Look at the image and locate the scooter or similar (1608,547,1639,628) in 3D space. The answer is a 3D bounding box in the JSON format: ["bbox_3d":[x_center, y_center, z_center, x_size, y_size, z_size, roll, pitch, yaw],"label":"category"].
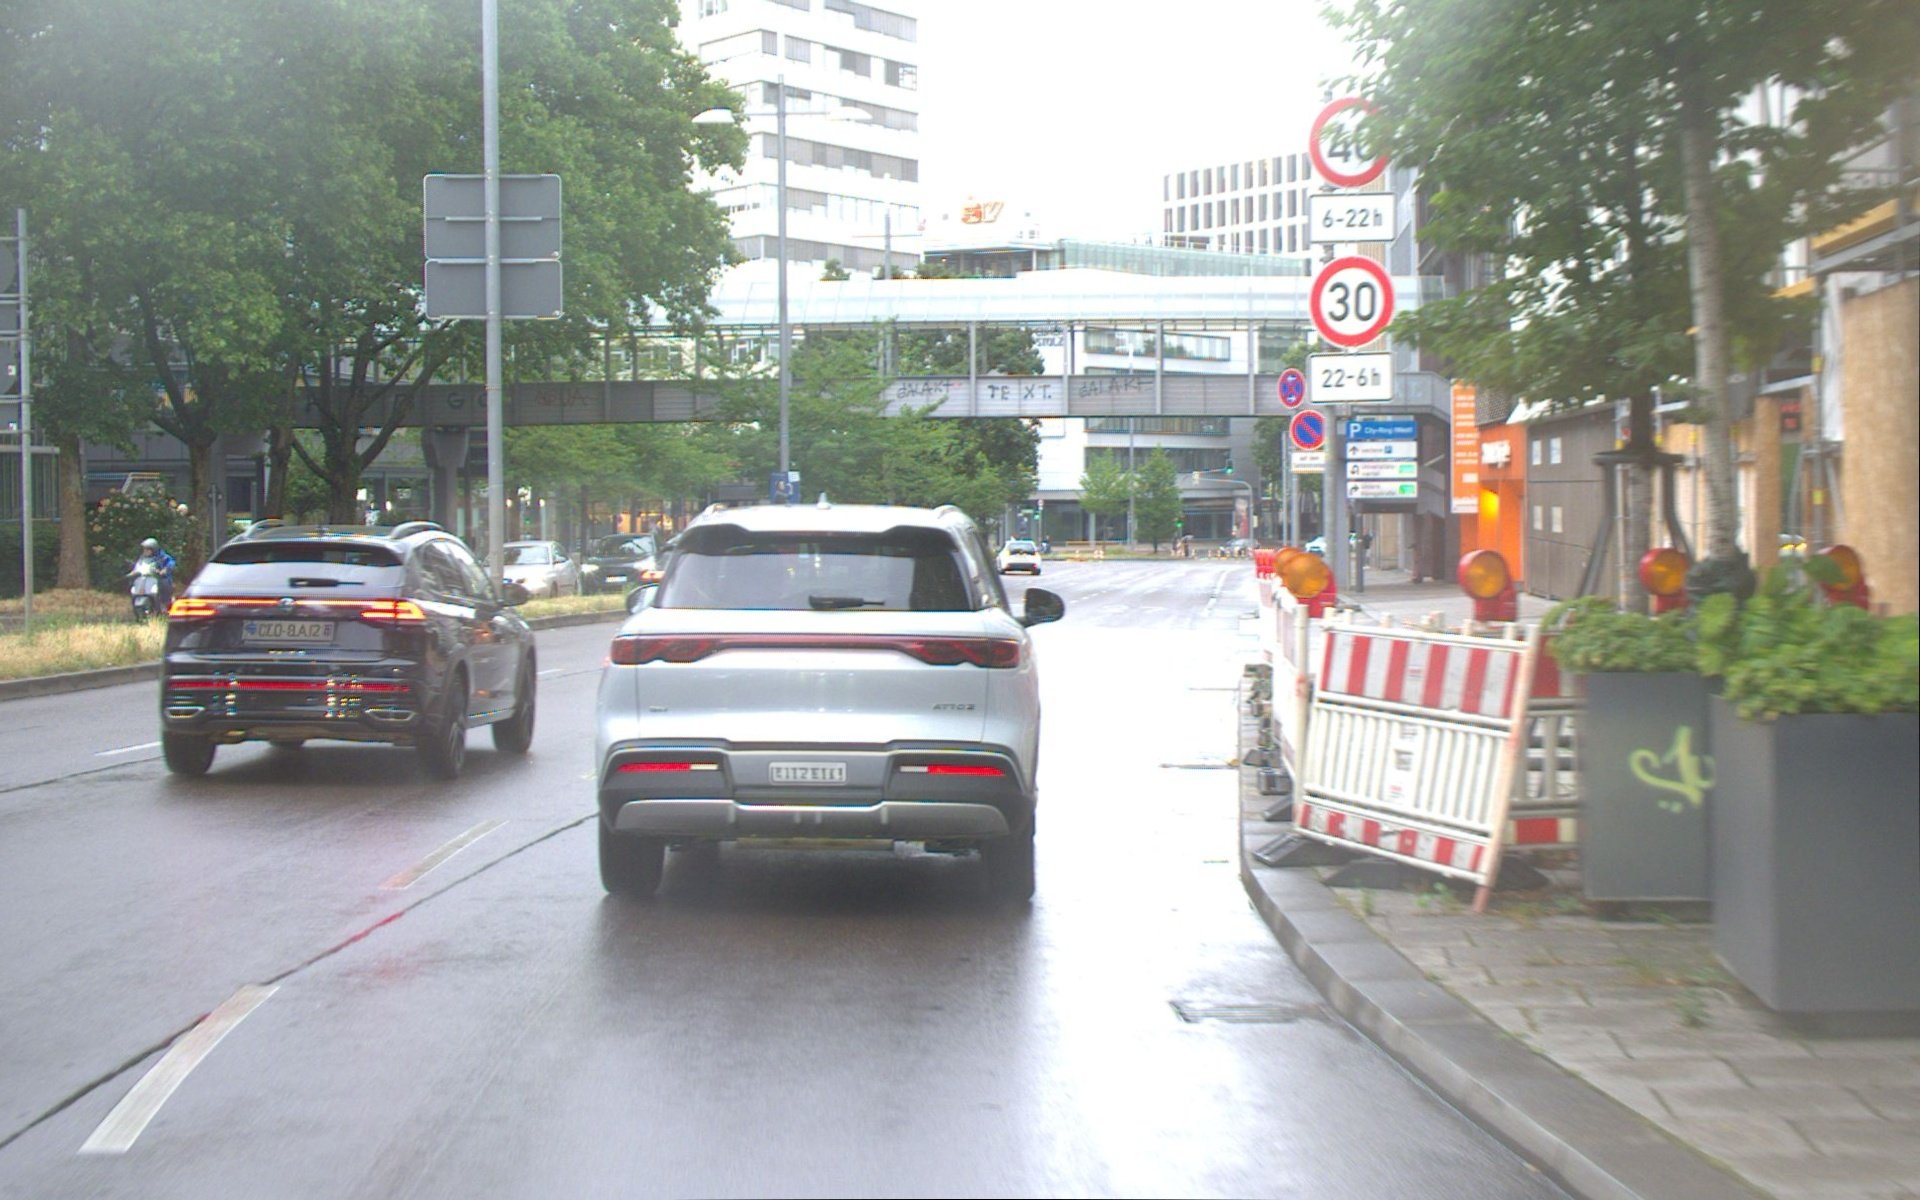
[{"bbox_3d":[10.281,-0.198,53.245,0.412,1.232,1.188,1,1,13],"label":"scooter or similar"}]

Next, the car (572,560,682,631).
[{"bbox_3d":[-8.089,-0.116,83.819,1.874,1.674,4.680,0,0,5],"label":"car"}]

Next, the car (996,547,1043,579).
[{"bbox_3d":[2.602,-1.609,149.637,1.654,1.337,3.999,1,1,6],"label":"car"}]

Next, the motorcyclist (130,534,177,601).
[{"bbox_3d":[-15.011,-0.605,64.008,0.675,1.234,0.619,1,1,6],"label":"motorcyclist"}]

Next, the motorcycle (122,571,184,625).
[{"bbox_3d":[-15.020,-0.045,63.992,0.694,0.966,1.396,1,1,6],"label":"motorcycle"}]

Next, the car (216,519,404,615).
[{"bbox_3d":[-10.087,-0.499,53.660,1.700,1.432,4.581,0,0,5],"label":"car"}]

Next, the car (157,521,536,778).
[{"bbox_3d":[-3.724,0.272,21.484,1.774,1.452,4.000,0,0,-2],"label":"car"}]

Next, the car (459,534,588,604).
[{"bbox_3d":[-8.625,-0.600,68.239,1.597,1.355,4.115,0,0,7],"label":"car"}]

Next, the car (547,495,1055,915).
[{"bbox_3d":[-0.565,0.385,15.293,1.901,1.616,4.000,0,1,3],"label":"car"}]

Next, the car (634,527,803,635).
[{"bbox_3d":[-3.648,-0.316,52.596,1.812,1.573,3.999,1,1,7],"label":"car"}]
